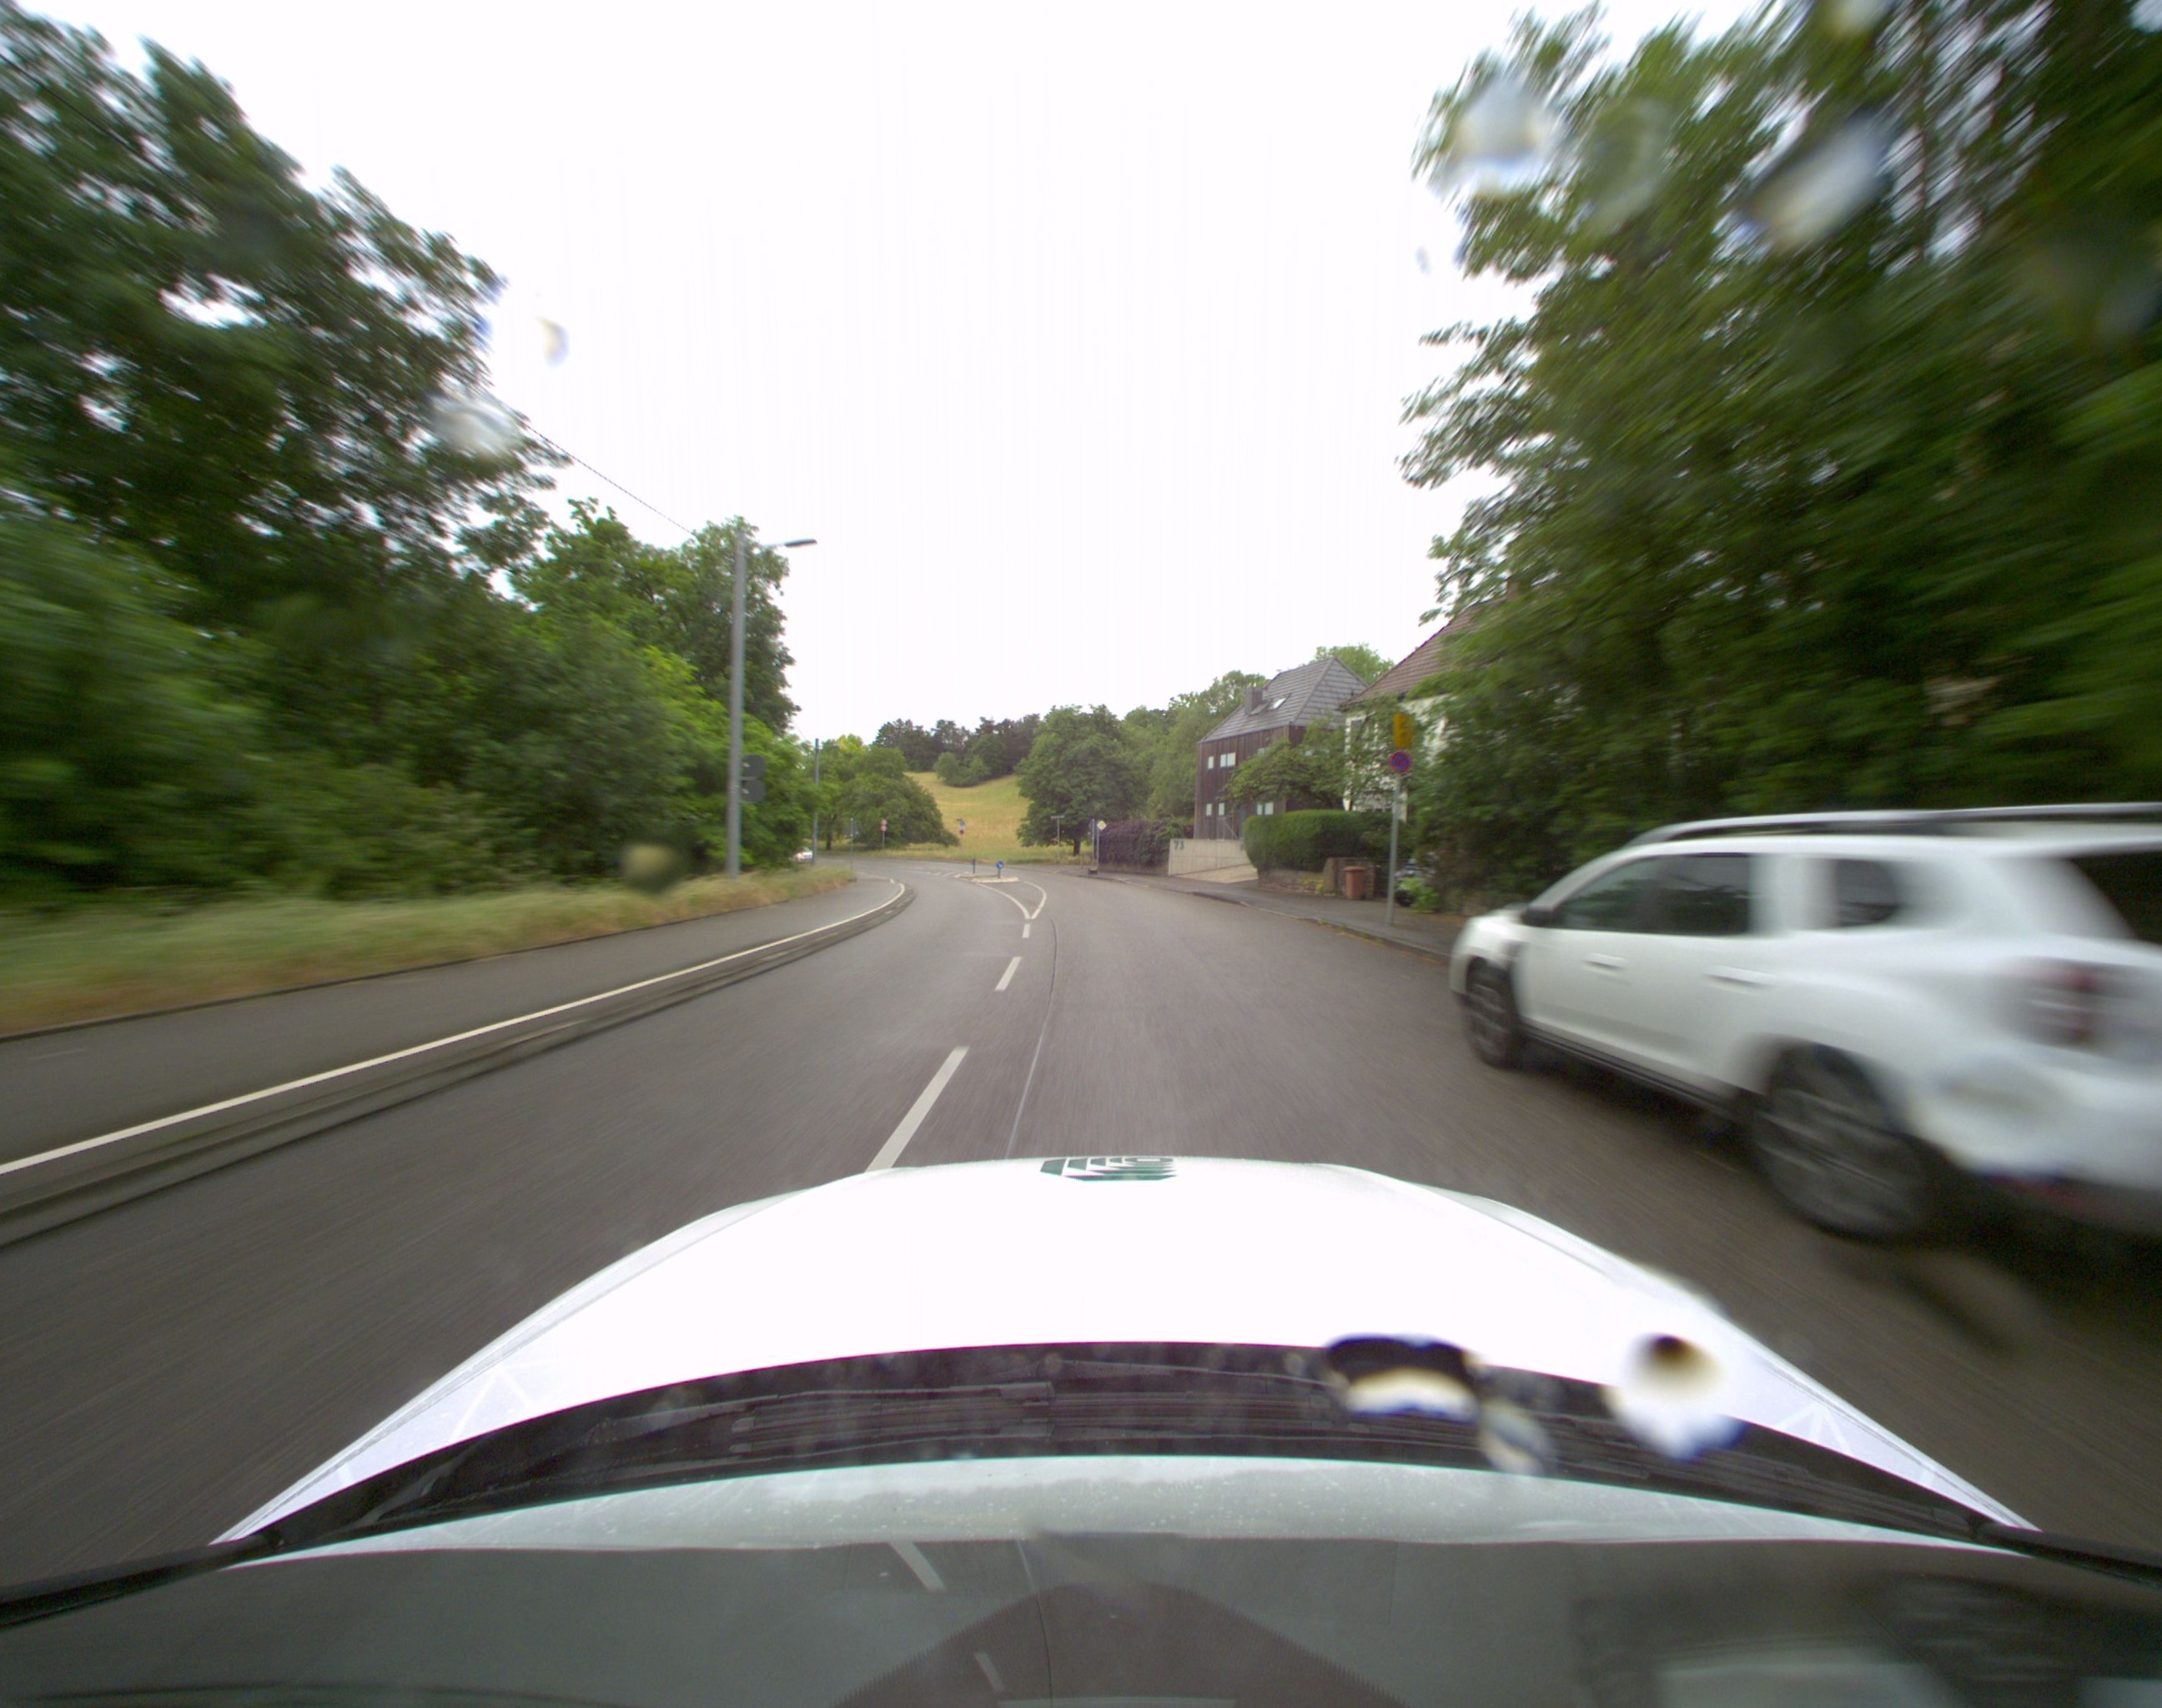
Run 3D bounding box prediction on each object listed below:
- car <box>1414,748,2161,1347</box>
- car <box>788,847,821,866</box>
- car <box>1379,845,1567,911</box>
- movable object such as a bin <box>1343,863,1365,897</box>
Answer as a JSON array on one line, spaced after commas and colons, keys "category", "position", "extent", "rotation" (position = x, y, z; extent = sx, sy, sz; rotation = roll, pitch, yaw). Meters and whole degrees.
[{"category": "car", "position": [3.671, 0.531, 4.590], "extent": [1.739, 1.706, 4.501], "rotation": [-1, 0, 0]}, {"category": "car", "position": [-25.849, 0.195, 76.033], "extent": [1.807, 1.485, 3.958], "rotation": [-5, 5, -34]}, {"category": "car", "position": [9.715, 0.579, 20.262], "extent": [3.992, 1.496, 1.764], "rotation": [1, 1, -14]}, {"category": "movable object such as a bin", "position": [7.563, 0.707, 22.538], "extent": [0.418, 0.920, 0.462], "rotation": [0, 0, -9]}]
